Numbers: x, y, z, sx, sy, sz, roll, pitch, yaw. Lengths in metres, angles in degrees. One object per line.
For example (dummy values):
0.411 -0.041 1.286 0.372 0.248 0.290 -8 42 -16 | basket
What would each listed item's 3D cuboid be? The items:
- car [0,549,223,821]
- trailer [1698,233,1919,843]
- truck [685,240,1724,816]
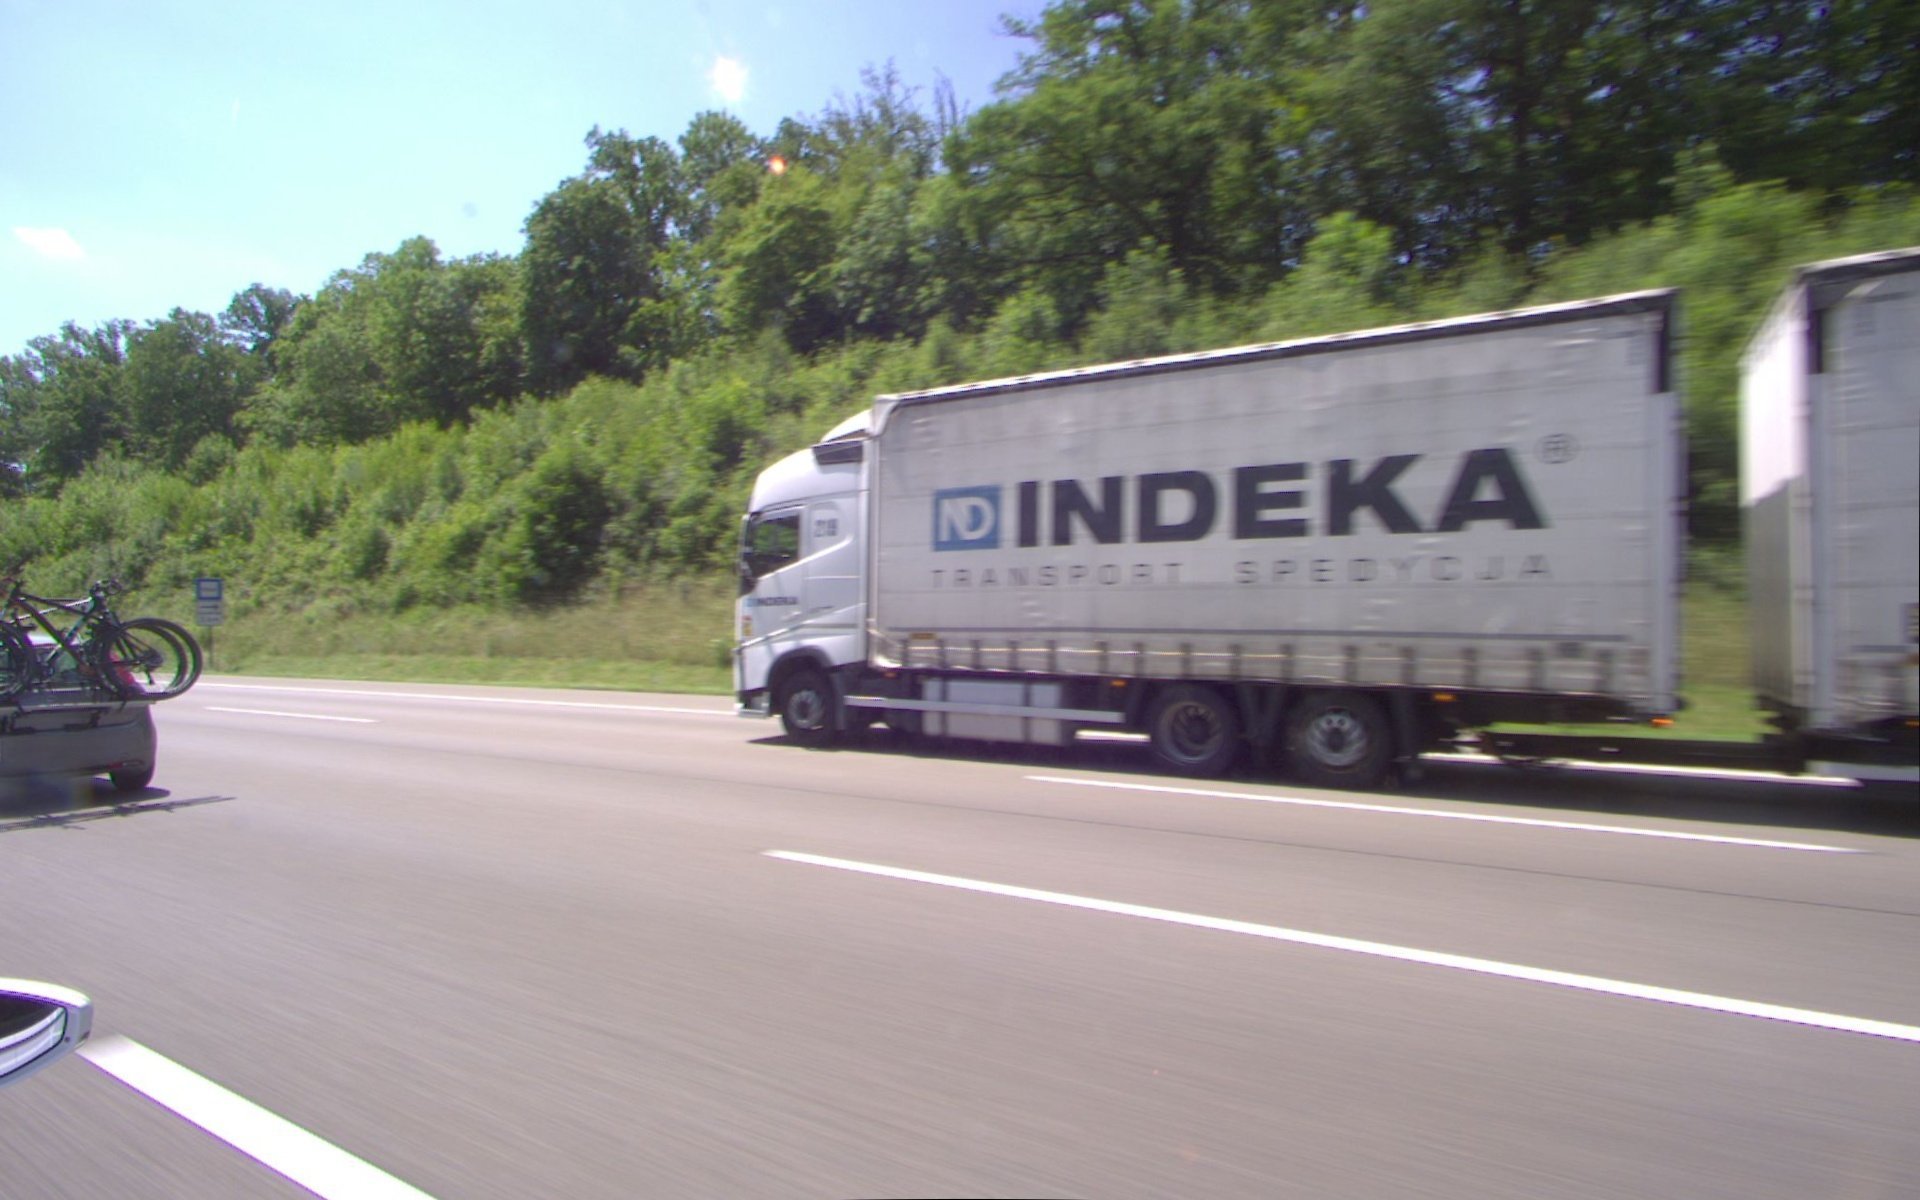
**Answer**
-9.072 0.683 9.357 4.715 2.080 1.957 -1 0 32 | car
9.821 -0.456 6.155 8.264 4.121 2.575 -1 -2 32 | trailer
1.688 -0.378 11.366 10.813 4.214 2.717 -1 -2 32 | truck
